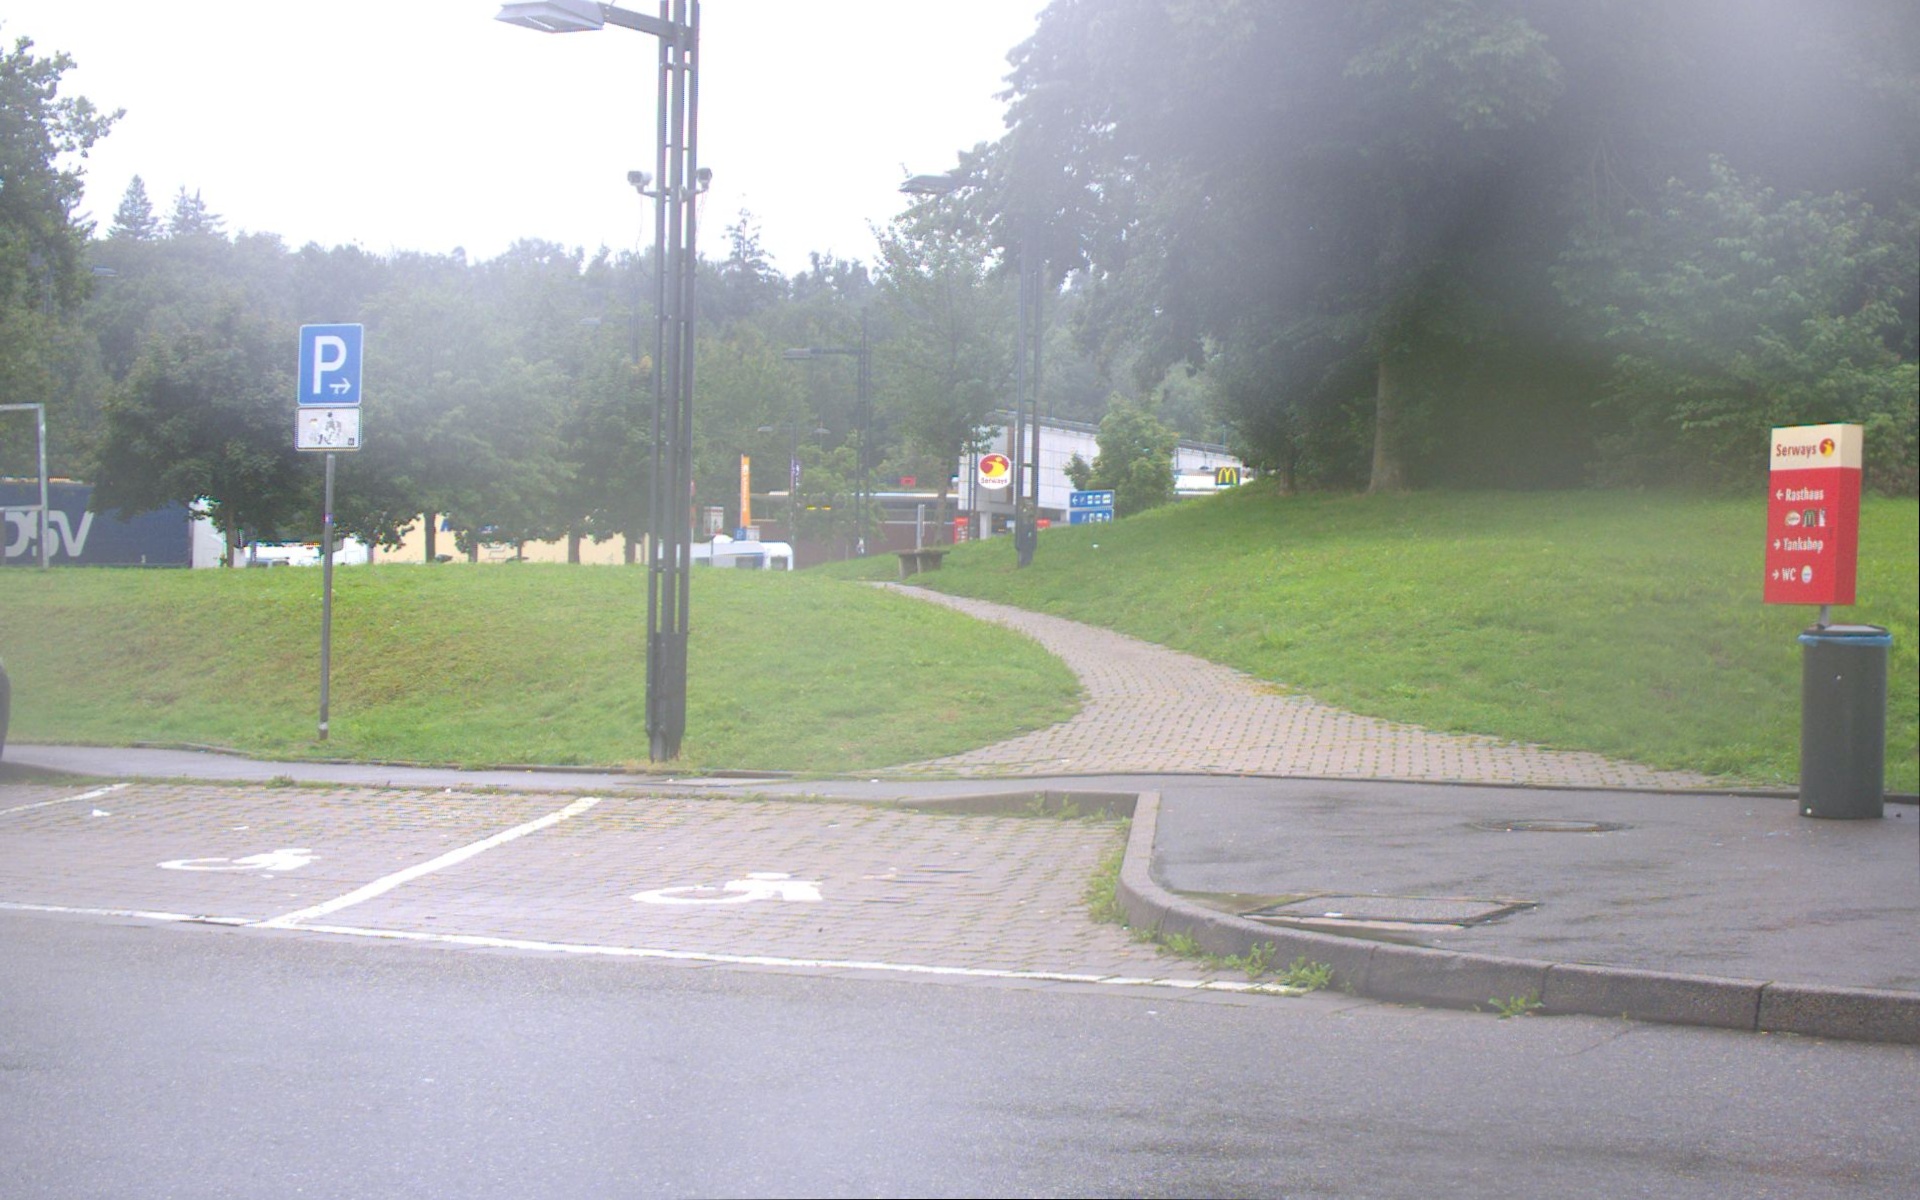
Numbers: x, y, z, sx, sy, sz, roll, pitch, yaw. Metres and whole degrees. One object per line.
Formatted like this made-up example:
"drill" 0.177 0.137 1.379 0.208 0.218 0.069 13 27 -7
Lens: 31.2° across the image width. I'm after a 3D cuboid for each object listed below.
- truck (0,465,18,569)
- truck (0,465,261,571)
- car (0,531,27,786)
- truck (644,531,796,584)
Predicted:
"truck" -28.601 -2.339 94.672 2.189 2.910 5.380 1 1 24
"truck" -25.463 -2.363 101.642 2.188 2.910 13.082 1 1 24
"car" -7.799 0.455 21.505 2.018 1.705 4.341 -1 1 12
"truck" -9.326 -1.656 133.820 5.413 2.007 2.364 1 1 25
